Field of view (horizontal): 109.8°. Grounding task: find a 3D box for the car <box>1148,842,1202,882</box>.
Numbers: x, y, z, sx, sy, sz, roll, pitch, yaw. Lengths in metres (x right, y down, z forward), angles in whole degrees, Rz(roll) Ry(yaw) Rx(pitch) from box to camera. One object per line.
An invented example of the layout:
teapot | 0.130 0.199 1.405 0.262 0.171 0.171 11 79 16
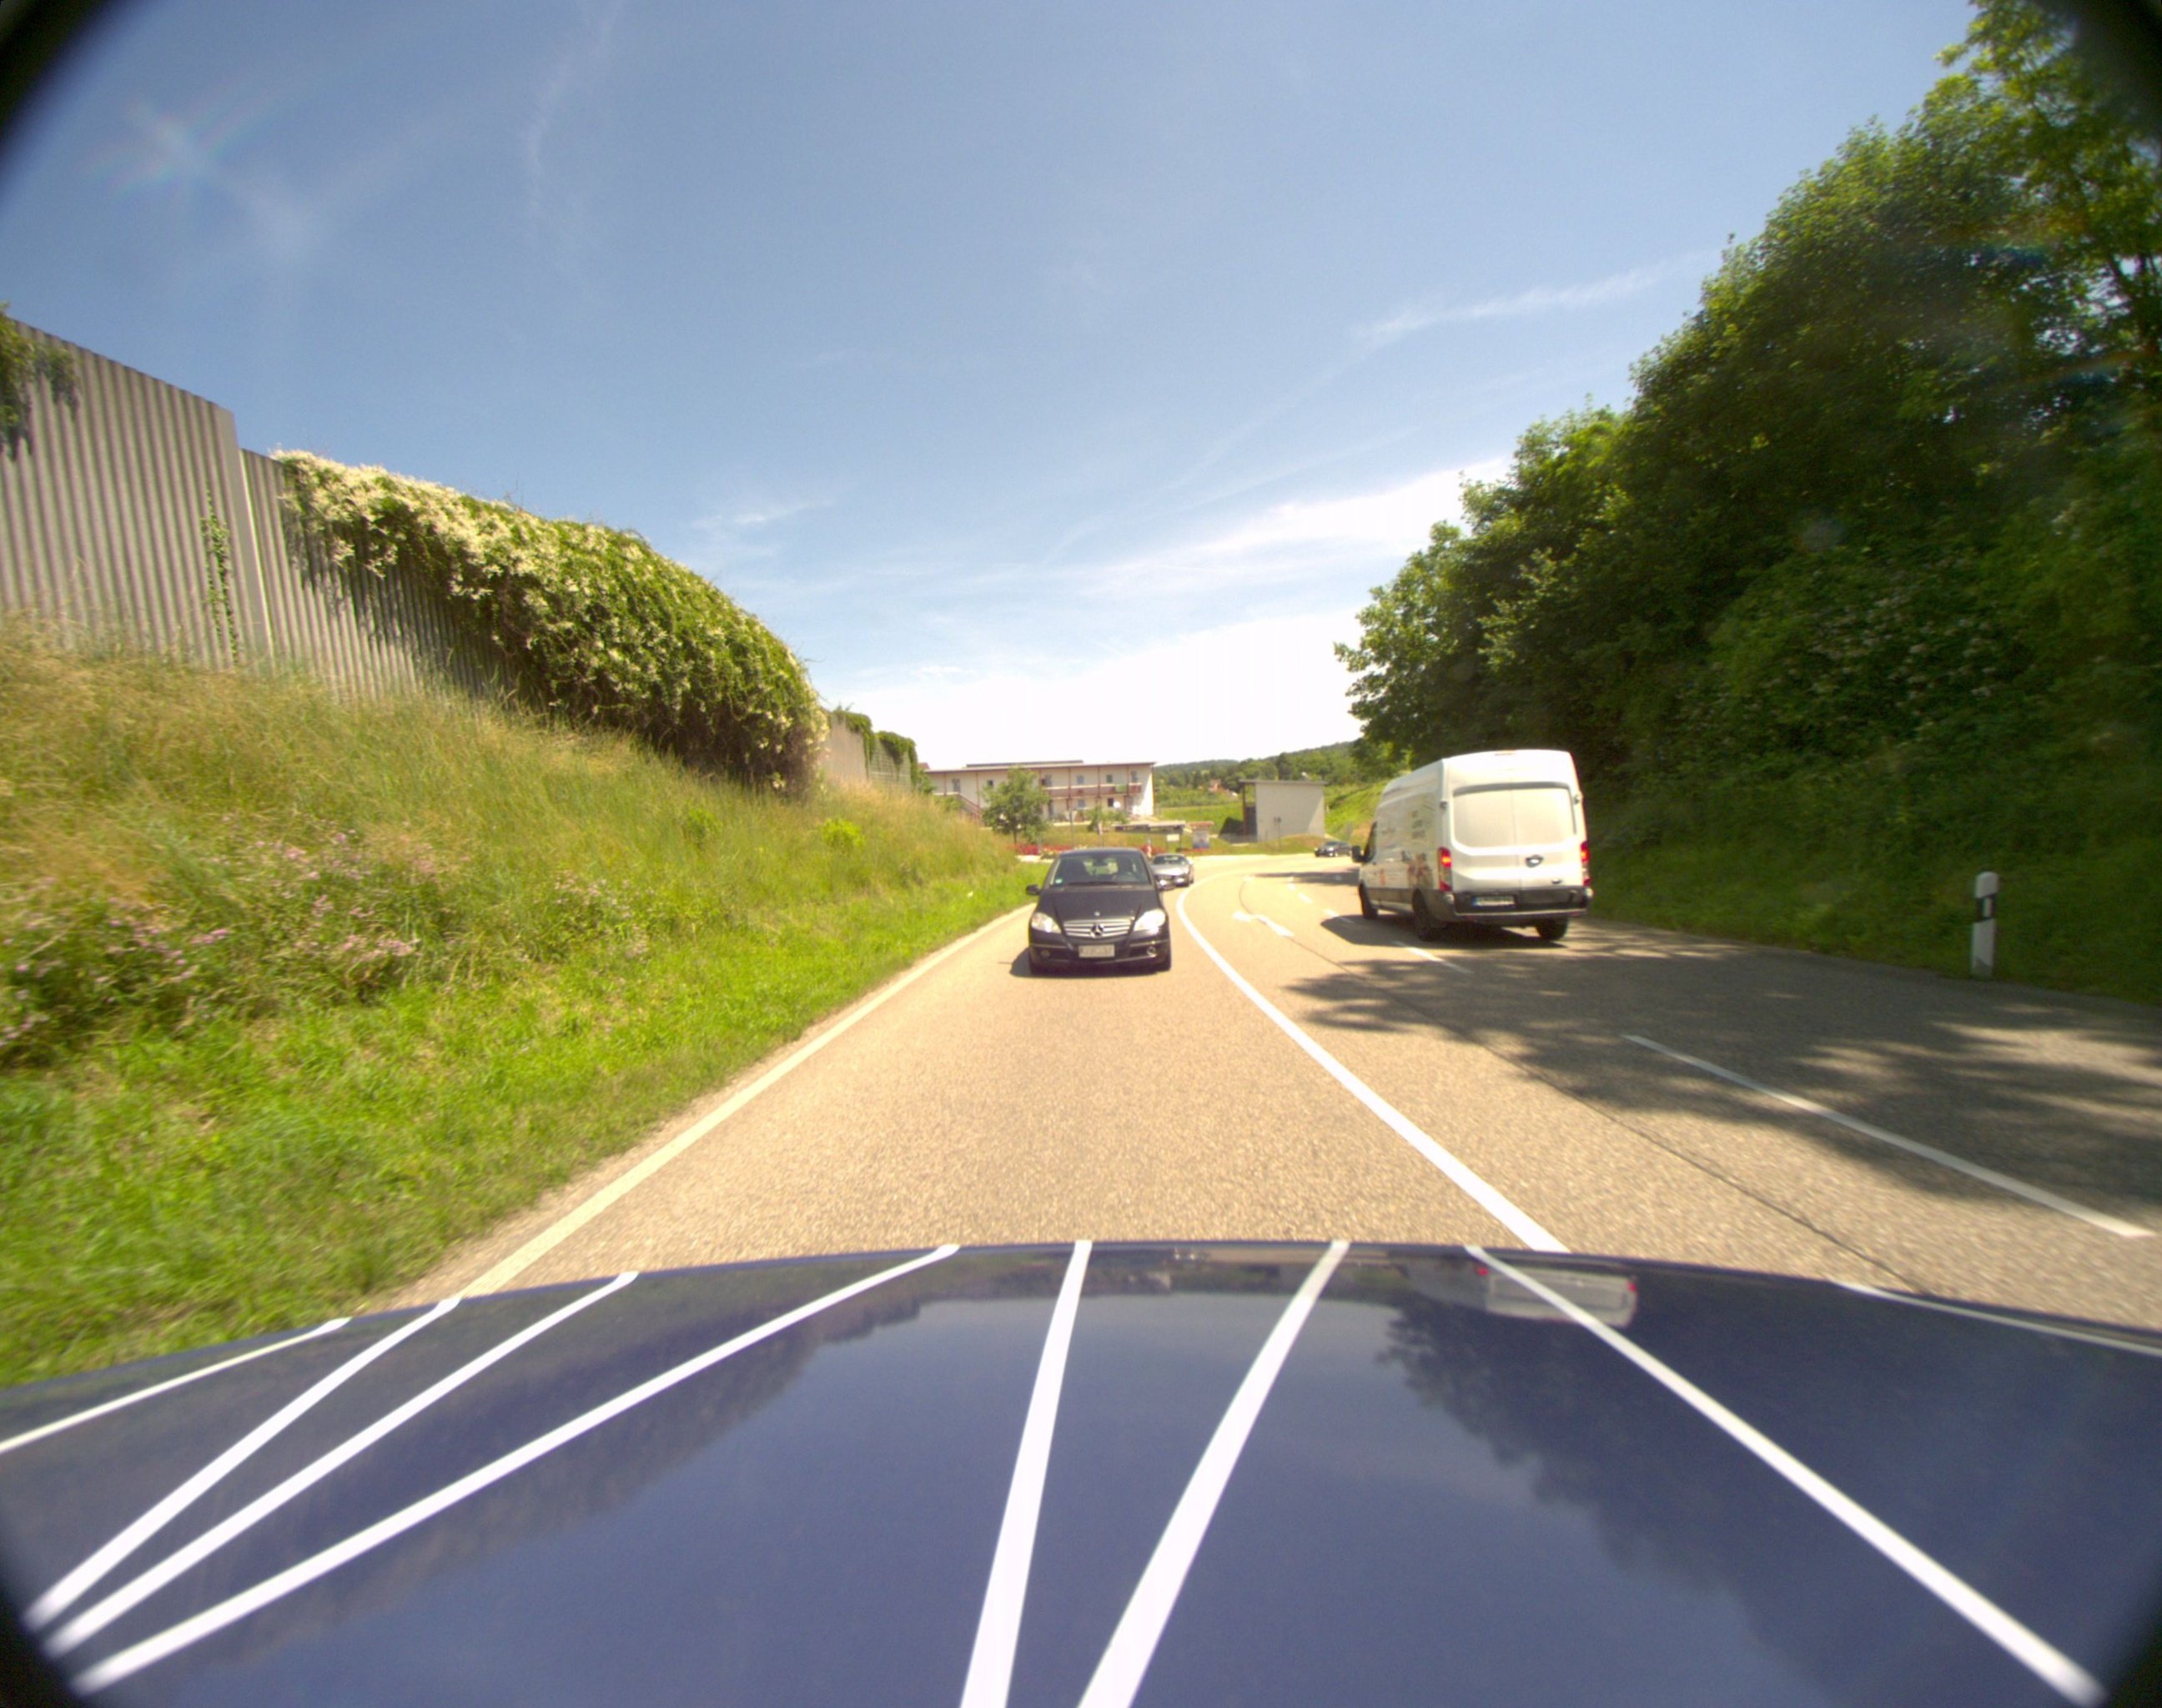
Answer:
car | 3.660 0.279 29.291 1.646 1.315 3.440 -3 2 13

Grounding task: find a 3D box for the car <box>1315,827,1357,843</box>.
car | 21.482 -1.586 63.992 1.751 1.281 4.153 2 3 44

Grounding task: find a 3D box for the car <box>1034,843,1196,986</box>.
car | 0.419 0.704 10.754 1.795 1.570 3.799 -3 0 1

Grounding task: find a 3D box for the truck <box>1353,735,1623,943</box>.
truck | 6.501 -0.245 13.158 2.057 2.671 5.983 -3 1 8
